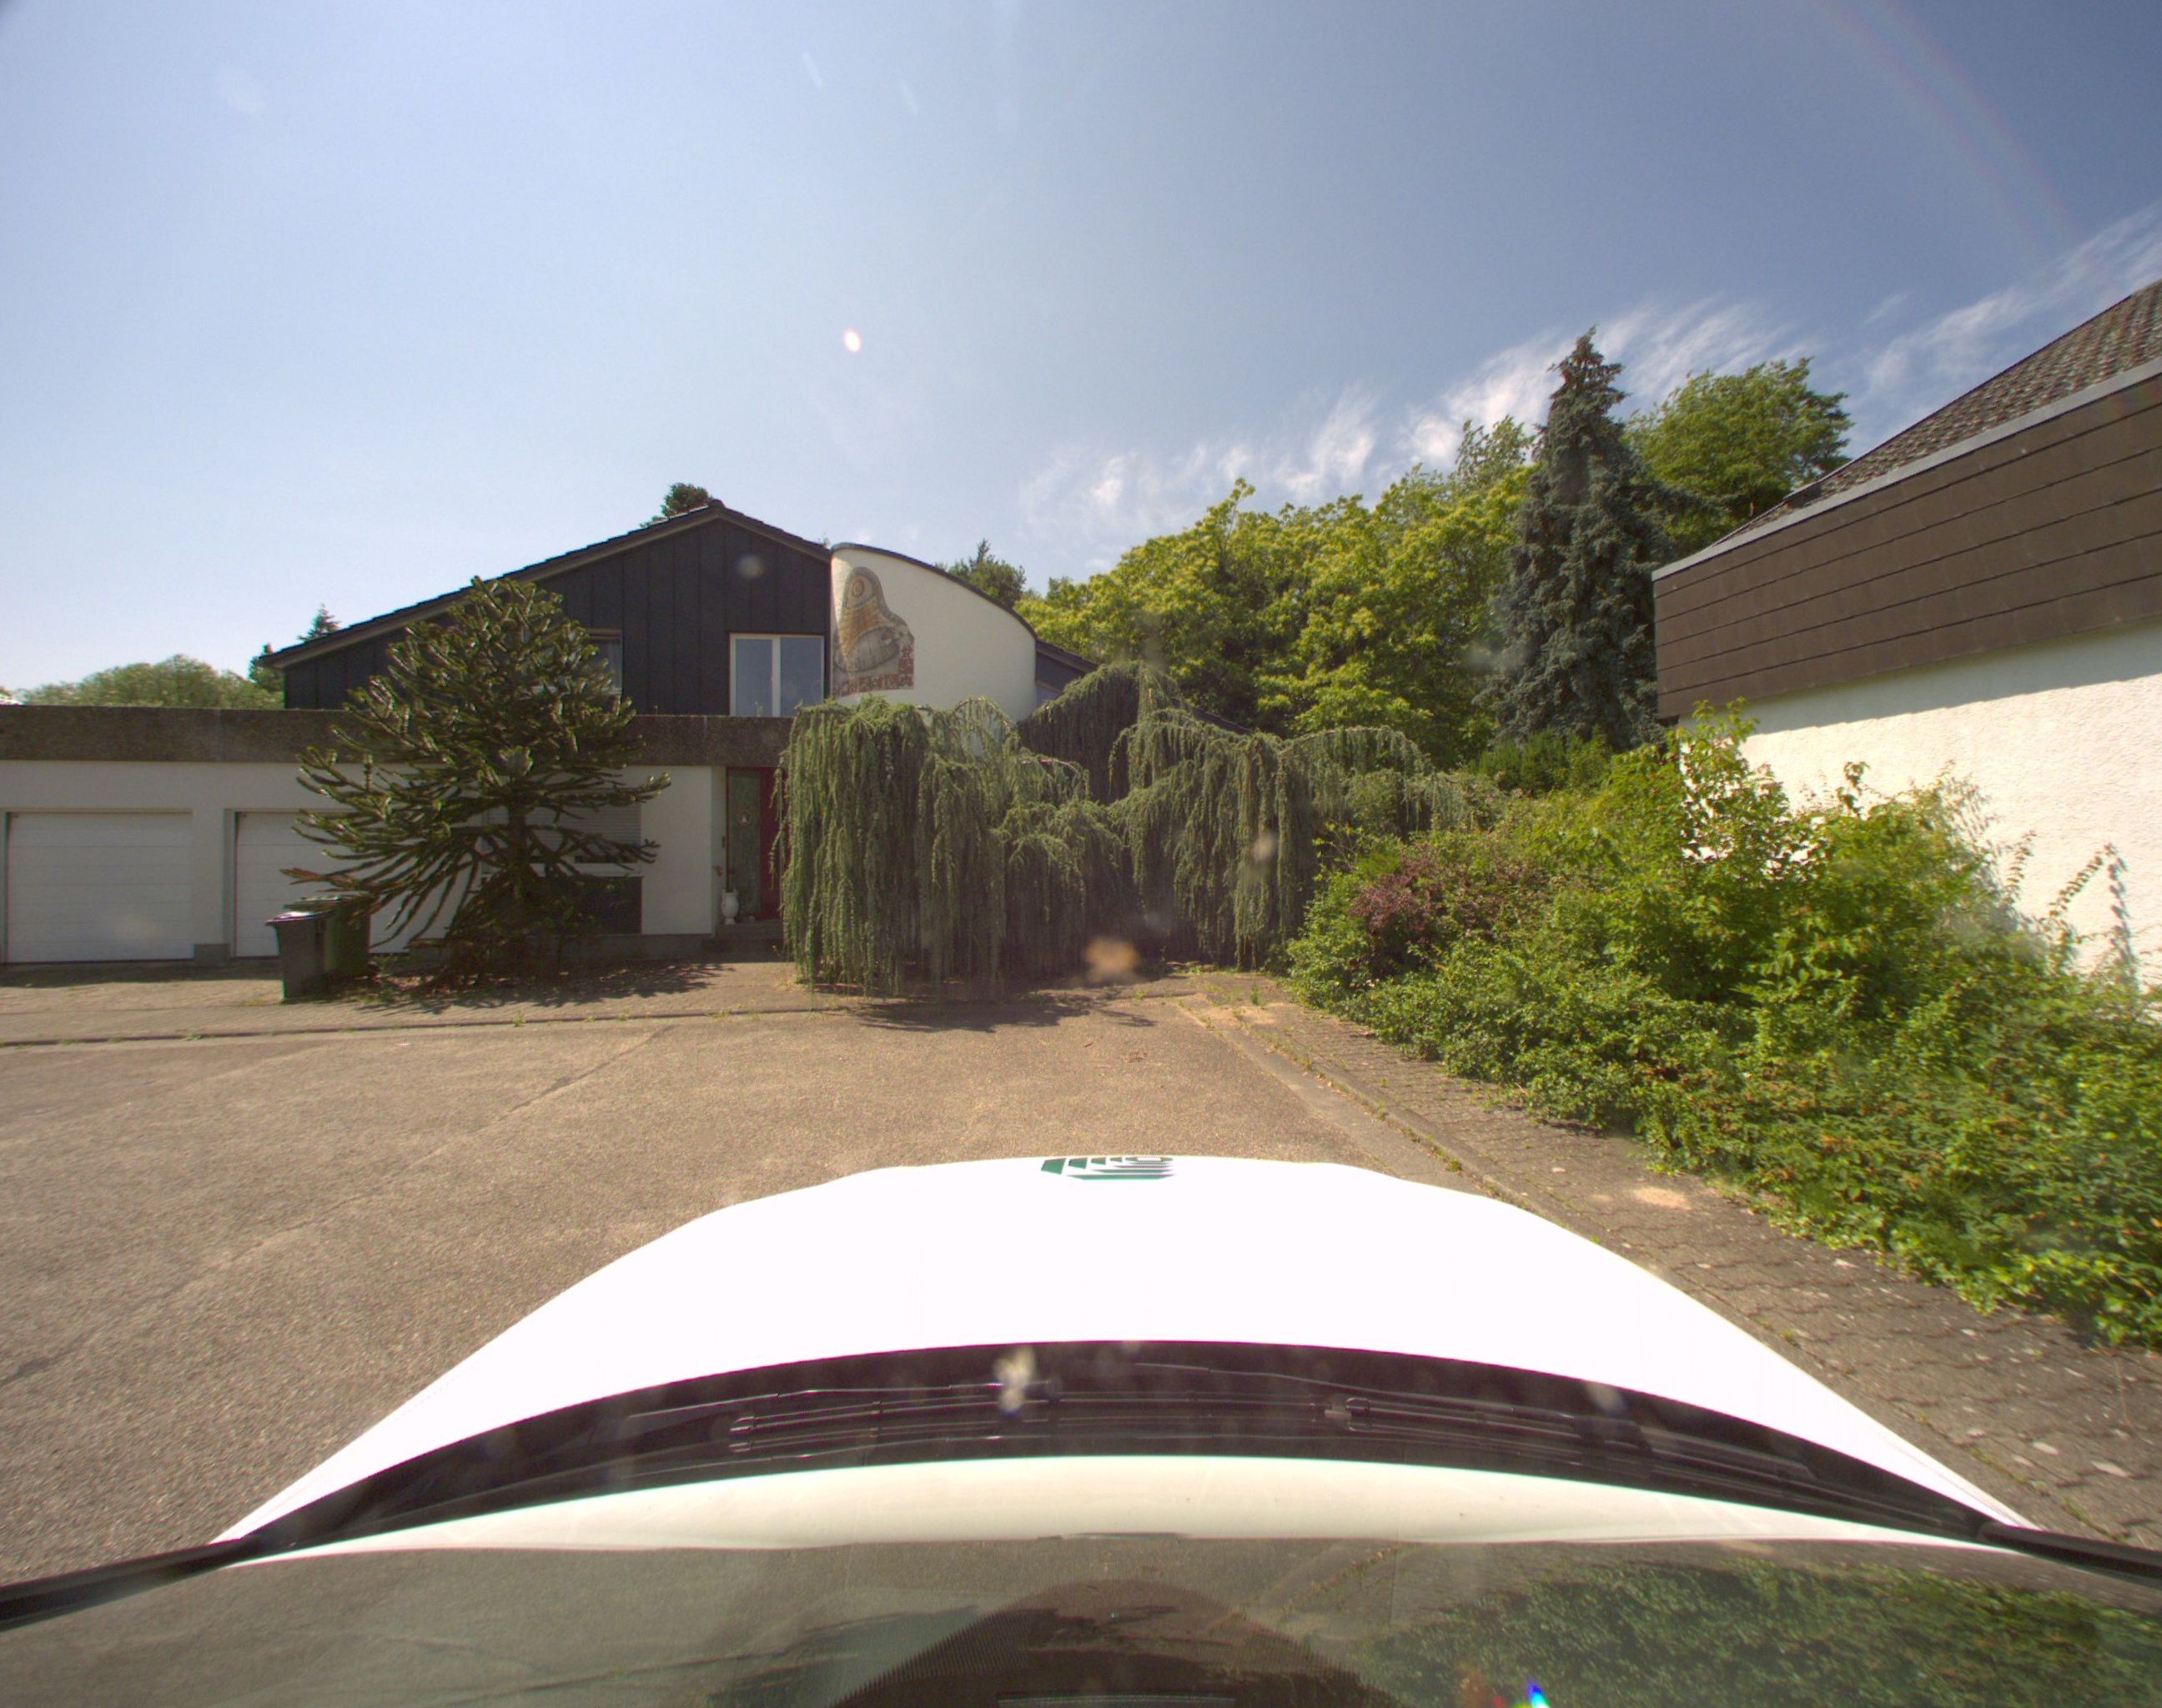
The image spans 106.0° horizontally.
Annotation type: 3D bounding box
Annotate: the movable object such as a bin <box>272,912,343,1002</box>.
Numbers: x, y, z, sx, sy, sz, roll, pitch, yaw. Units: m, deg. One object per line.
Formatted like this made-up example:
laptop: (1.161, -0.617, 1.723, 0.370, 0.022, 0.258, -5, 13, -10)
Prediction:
movable object such as a bin: (-8.858, 1.166, 9.336, 0.526, 0.950, 0.385, 0, -1, -34)

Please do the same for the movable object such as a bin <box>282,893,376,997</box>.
movable object such as a bin: (-9.203, 1.093, 9.982, 0.631, 1.203, 0.550, -1, -1, -7)
